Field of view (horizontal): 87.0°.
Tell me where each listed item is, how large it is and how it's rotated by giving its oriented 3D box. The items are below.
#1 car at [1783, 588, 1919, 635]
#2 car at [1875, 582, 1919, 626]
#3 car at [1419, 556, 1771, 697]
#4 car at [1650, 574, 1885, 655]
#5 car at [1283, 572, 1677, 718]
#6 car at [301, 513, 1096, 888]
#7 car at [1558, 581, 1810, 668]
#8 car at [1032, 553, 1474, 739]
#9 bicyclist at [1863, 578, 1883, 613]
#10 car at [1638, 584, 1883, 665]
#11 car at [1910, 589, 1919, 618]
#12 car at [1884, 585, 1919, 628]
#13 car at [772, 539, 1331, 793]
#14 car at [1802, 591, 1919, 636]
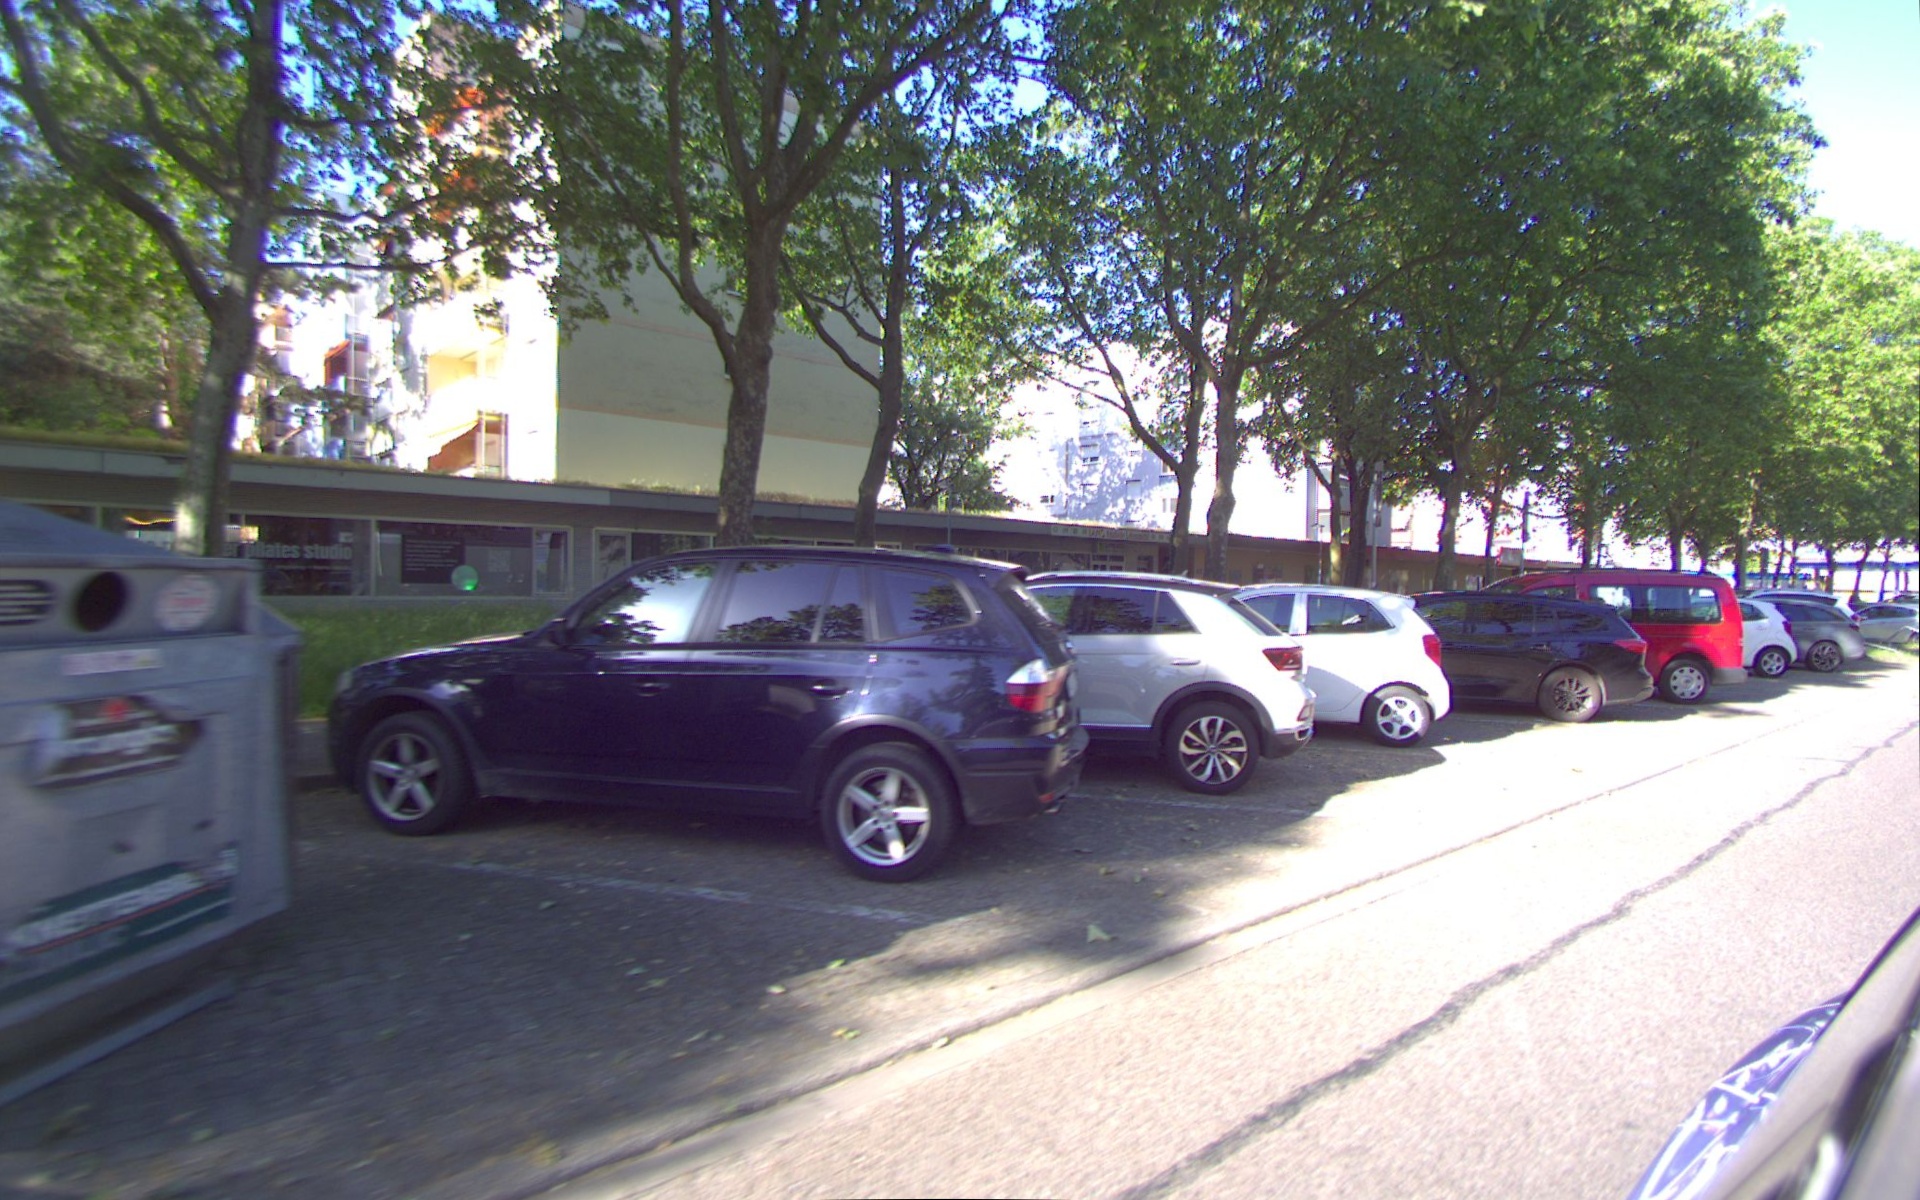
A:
[{"bbox_3d":[29.868,0.373,33.398,3.871,1.390,1.585,2,2,7],"label":"car"},{"bbox_3d":[43.854,0.232,44.822,4.596,1.875,1.826,2,2,10],"label":"car"},{"bbox_3d":[9.247,0.321,15.066,4.020,1.833,1.647,2,2,10],"label":"car"},{"bbox_3d":[19.225,0.300,24.260,3.962,1.726,1.757,2,2,9],"label":"car"},{"bbox_3d":[6.231,0.473,12.635,4.025,1.499,1.644,2,2,14],"label":"car"},{"bbox_3d":[-1.394,0.422,5.957,4.252,1.738,1.631,1,1,11],"label":"car"},{"bbox_3d":[13.902,0.428,19.597,3.562,1.466,1.650,2,2,4],"label":"car"},{"bbox_3d":[2.825,0.382,10.489,4.016,1.601,1.778,2,2,8],"label":"car"},{"bbox_3d":[46.657,-0.216,51.721,1.005,1.762,0.624,0,1,-40],"label":"bicyclist"},{"bbox_3d":[17.006,0.487,21.667,3.722,1.488,1.649,2,2,7],"label":"car"},{"bbox_3d":[51.268,0.306,51.379,3.948,1.487,1.750,4,2,19],"label":"car"},{"bbox_3d":[41.338,0.326,41.730,4.428,1.726,1.757,2,2,9],"label":"car"},{"bbox_3d":[0.727,0.386,8.142,4.027,1.601,1.773,2,2,16],"label":"car"},{"bbox_3d":[32.845,0.475,35.974,4.113,1.429,1.718,2,2,7],"label":"car"}]
